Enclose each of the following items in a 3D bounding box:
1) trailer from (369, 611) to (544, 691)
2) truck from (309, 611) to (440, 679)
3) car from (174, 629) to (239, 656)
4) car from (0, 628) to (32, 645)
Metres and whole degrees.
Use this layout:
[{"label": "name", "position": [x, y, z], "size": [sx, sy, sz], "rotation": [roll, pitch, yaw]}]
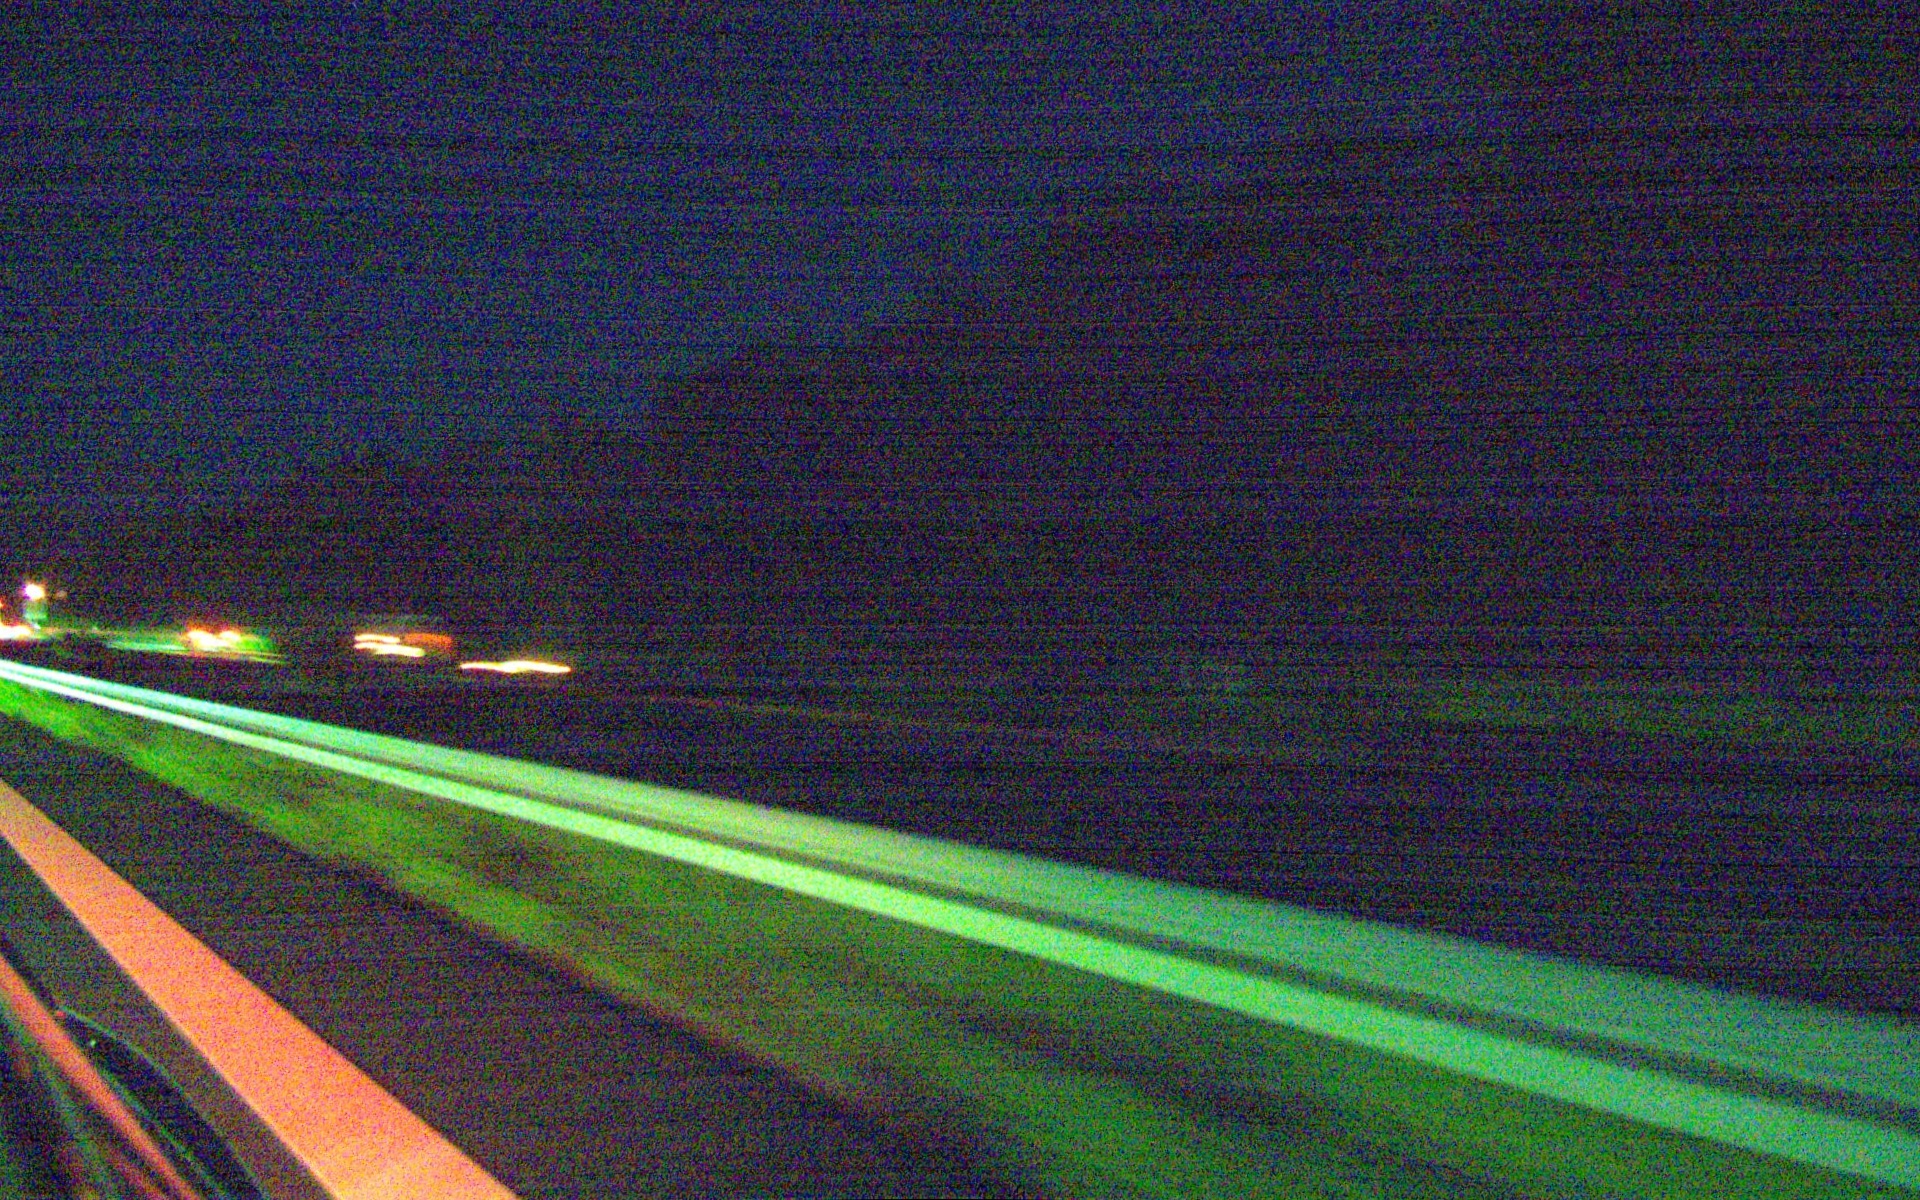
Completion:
[{"label": "trailer", "position": [-13.997, 1.341, 27.884], "size": [6.619, 1.955, 1.972], "rotation": [-1, -3, 42]}, {"label": "truck", "position": [-18.503, 1.370, 31.854], "size": [5.238, 1.957, 1.972], "rotation": [-1, -3, 42]}, {"label": "car", "position": [-43.367, 2.419, 58.205], "size": [4.797, 1.496, 1.973], "rotation": [-1, -3, 40]}, {"label": "car", "position": [-83.506, 3.194, 89.070], "size": [5.702, 1.405, 1.973], "rotation": [-1, -3, 40]}]
